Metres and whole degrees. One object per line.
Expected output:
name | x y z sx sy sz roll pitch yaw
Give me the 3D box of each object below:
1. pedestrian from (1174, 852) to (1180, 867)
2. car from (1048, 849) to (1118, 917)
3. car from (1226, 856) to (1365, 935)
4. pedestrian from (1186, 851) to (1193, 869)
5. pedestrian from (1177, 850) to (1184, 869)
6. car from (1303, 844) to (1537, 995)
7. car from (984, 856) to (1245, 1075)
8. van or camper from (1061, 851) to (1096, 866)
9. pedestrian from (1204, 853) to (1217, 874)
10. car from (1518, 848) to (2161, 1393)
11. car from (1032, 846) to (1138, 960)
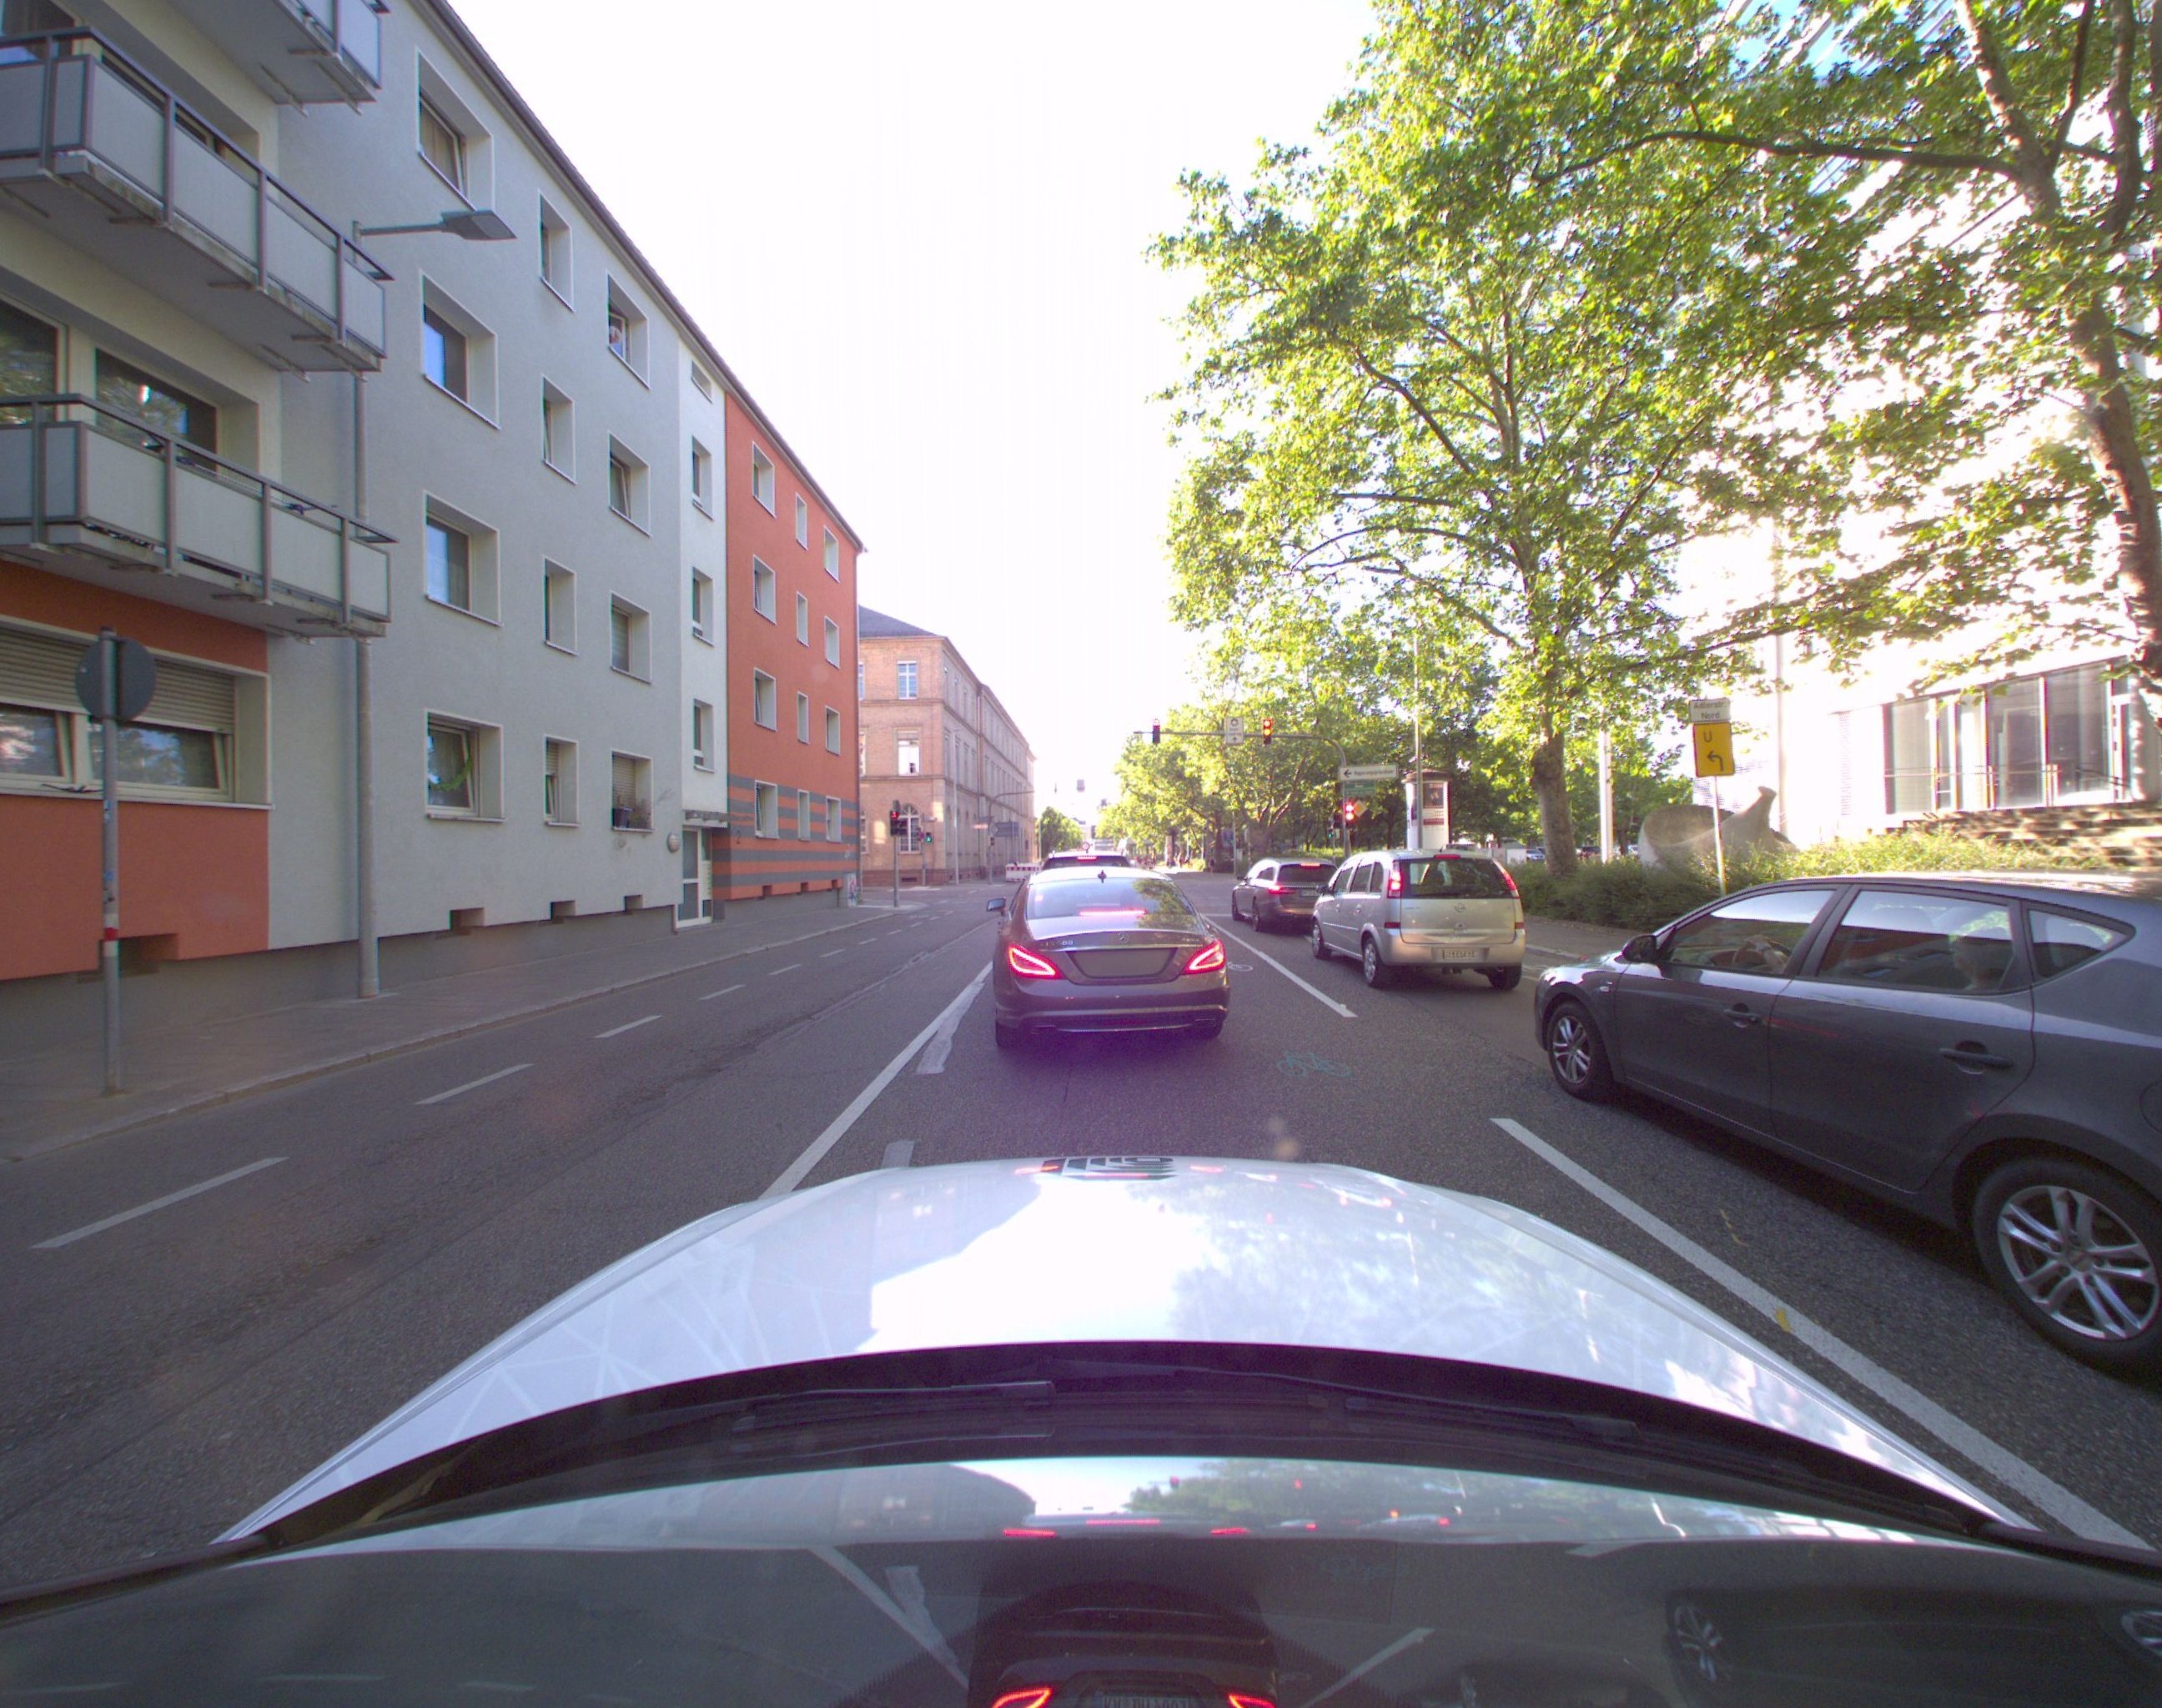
pedestrian | 11.142 0.634 94.519 0.609 1.821 0.933 -1 0 2
car | 0.125 0.768 23.377 1.813 1.762 4.002 -1 0 2
car | 4.407 0.779 17.519 1.905 1.464 4.671 0 0 2
pedestrian | 10.805 0.624 81.177 0.601 1.821 0.652 -1 0 1
pedestrian | 9.935 0.564 81.519 0.601 1.821 0.652 -1 0 1
car | 4.175 0.699 10.715 1.694 1.603 3.863 1 0 4
car | 0.055 0.762 7.783 1.801 1.456 4.342 -1 0 -5
van or camper | -0.374 0.655 111.983 4.534 1.941 2.013 -1 0 36
pedestrian | 10.013 0.718 62.971 0.827 1.606 0.652 -1 0 1
car | 3.810 0.733 3.681 1.638 1.482 3.978 0 0 2
car | 0.054 0.710 13.757 1.513 1.647 3.879 -1 0 0
